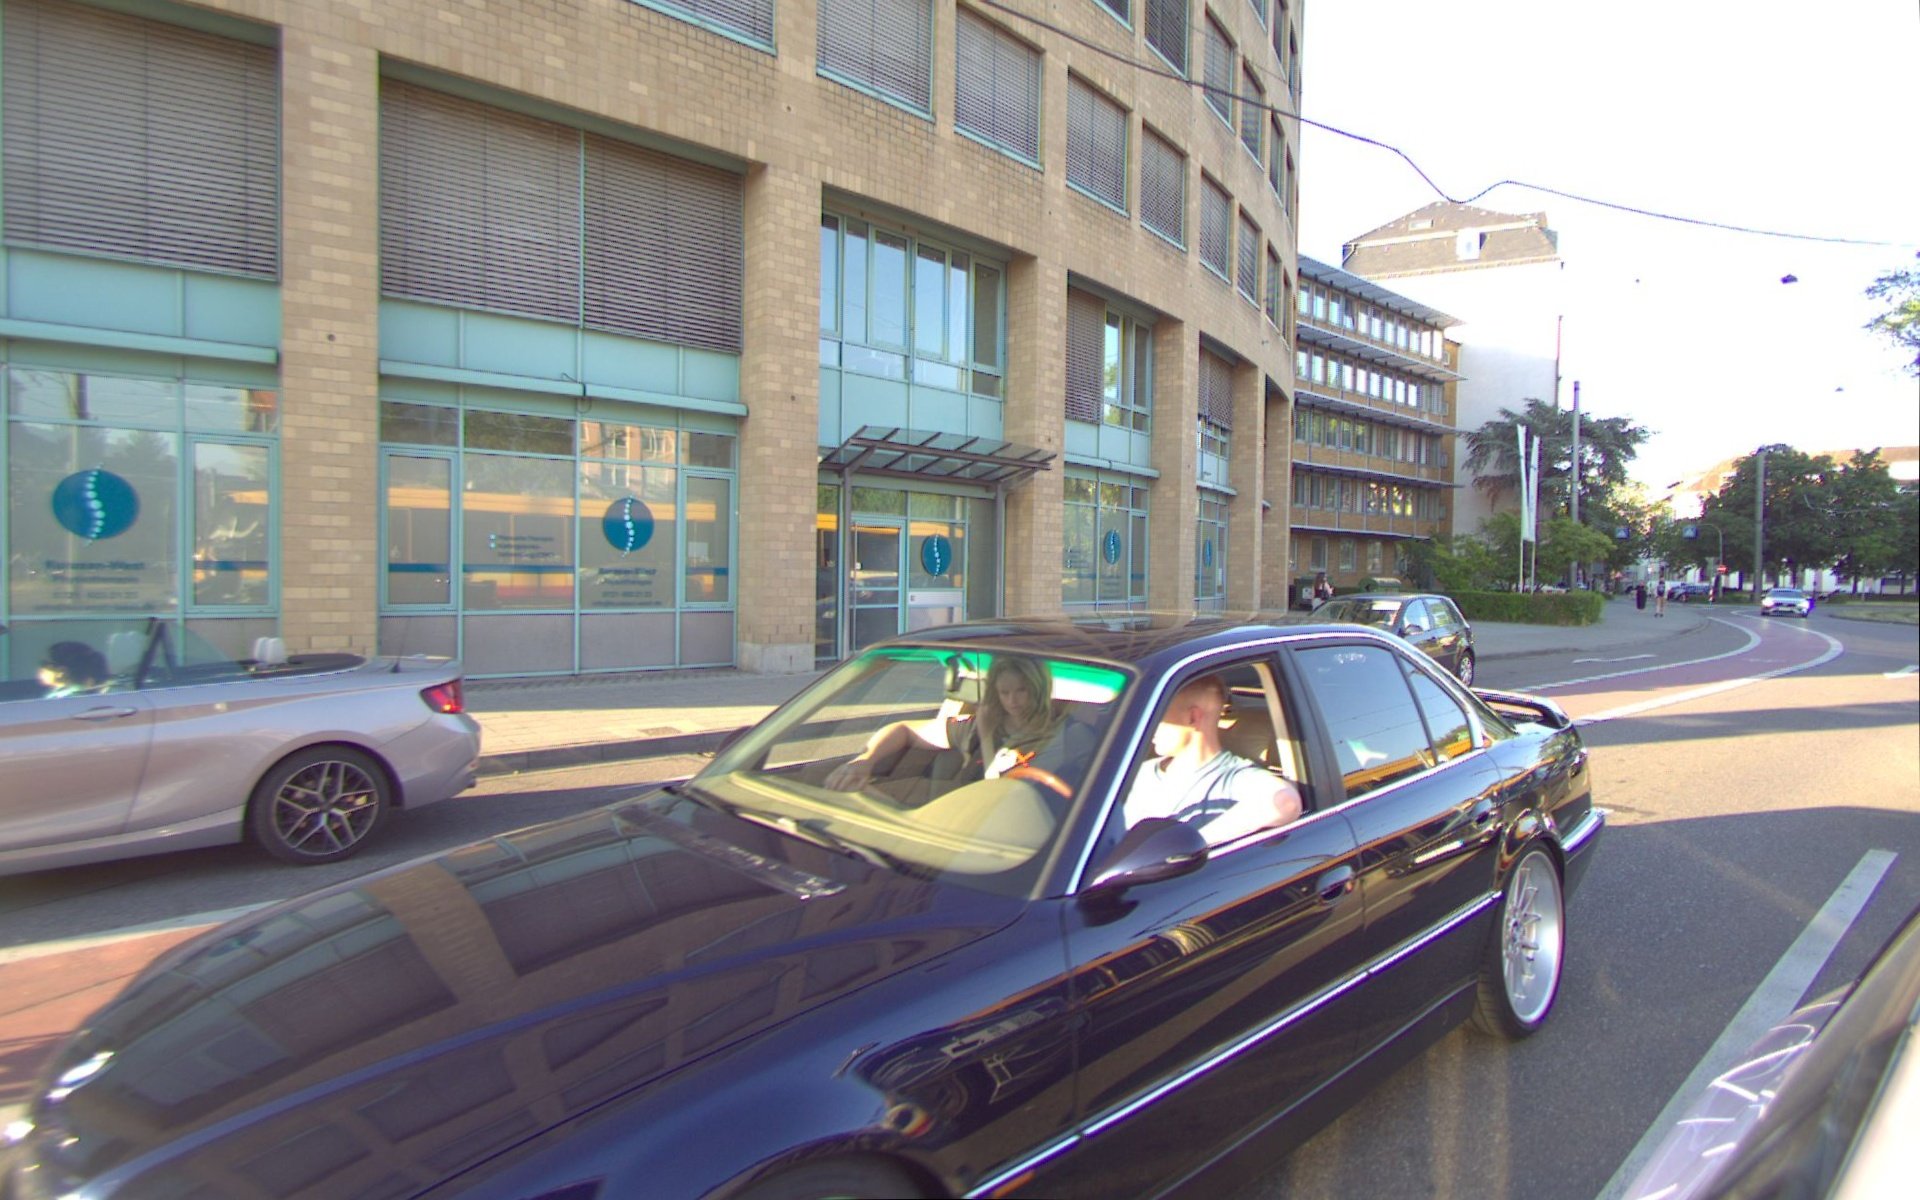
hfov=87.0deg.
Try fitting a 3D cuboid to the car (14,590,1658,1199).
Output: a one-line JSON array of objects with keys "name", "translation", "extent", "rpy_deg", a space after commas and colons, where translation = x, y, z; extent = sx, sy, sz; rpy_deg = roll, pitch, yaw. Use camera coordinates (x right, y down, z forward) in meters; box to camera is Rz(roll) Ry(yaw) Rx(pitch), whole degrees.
[{"name": "car", "translation": [0.303, 0.690, 3.165], "extent": [4.656, 1.402, 1.997], "rpy_deg": [-1, 1, -41]}]

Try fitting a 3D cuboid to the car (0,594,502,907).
[{"name": "car", "translation": [-4.876, 0.695, 5.374], "extent": [4.153, 1.402, 1.747], "rpy_deg": [-1, 1, -40]}]

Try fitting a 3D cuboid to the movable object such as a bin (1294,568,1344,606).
[{"name": "movable object such as a bin", "translation": [14.334, -0.539, 40.426], "extent": [1.310, 1.477, 1.425], "rpy_deg": [-1, 2, -43]}]

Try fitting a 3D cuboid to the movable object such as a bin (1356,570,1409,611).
[{"name": "movable object such as a bin", "translation": [15.801, -0.377, 37.833], "extent": [1.311, 1.477, 1.424], "rpy_deg": [-1, 2, -45]}]

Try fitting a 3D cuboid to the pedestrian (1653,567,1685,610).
[{"name": "pedestrian", "translation": [32.304, -0.516, 46.123], "extent": [1.107, 1.918, 0.910], "rpy_deg": [0, 1, -41]}]

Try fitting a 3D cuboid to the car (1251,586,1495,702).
[{"name": "car", "translation": [6.070, 0.528, 14.688], "extent": [3.932, 1.404, 1.757], "rpy_deg": [-1, 2, -42]}]

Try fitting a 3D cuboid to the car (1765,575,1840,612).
[{"name": "car", "translation": [42.750, -0.335, 51.351], "extent": [3.925, 1.771, 2.000], "rpy_deg": [-1, 2, -36]}]

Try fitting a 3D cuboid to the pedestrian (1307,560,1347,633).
[{"name": "pedestrian", "translation": [8.857, -0.096, 24.420], "extent": [0.702, 1.702, 0.626], "rpy_deg": [-1, 2, -44]}]

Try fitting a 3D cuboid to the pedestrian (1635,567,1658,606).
[{"name": "pedestrian", "translation": [33.006, -0.644, 48.646], "extent": [0.711, 1.830, 0.728], "rpy_deg": [0, 1, -41]}]
